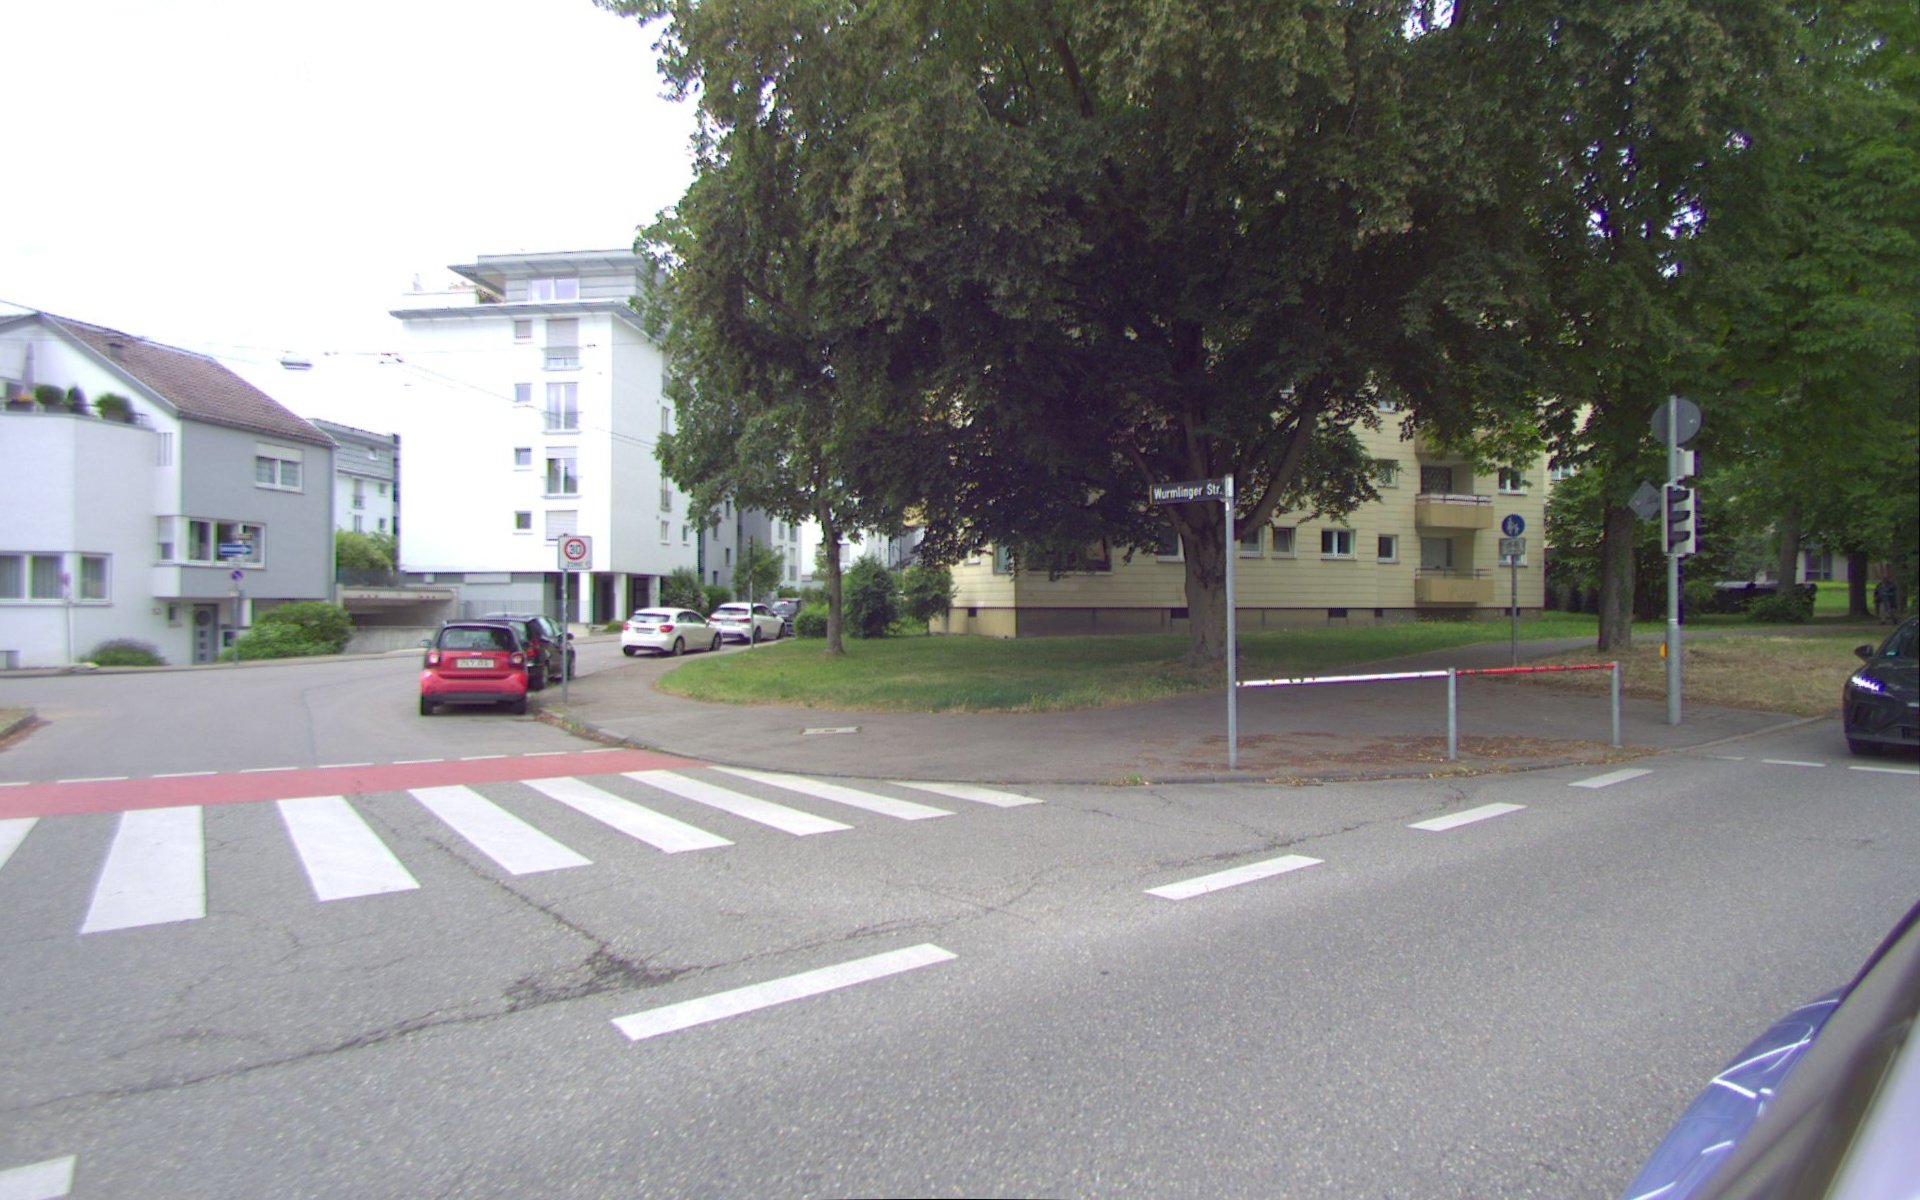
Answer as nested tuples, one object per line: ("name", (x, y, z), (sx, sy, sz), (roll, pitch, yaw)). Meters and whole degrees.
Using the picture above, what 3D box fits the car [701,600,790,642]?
("car", (-7.897, 0.745, 37.576), (1.767, 1.371, 4.058), (0, 1, 12))

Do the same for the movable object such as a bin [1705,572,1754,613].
("movable object such as a bin", (32.837, -0.343, 43.189), (1.001, 1.662, 1.436), (-2, 3, -36))

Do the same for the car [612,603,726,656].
("car", (-8.978, 0.869, 31.567), (1.767, 1.452, 4.058), (0, 1, 12))

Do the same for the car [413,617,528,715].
("car", (-8.538, 1.070, 17.635), (1.661, 1.526, 2.924), (0, -1, -27))

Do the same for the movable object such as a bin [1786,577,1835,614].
("movable object such as a bin", (36.087, -0.221, 42.957), (1.179, 1.492, 1.329), (-2, 3, -36))

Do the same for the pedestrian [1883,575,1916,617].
("pedestrian", (31.684, -0.129, 34.134), (0.594, 1.398, 0.690), (-2, 1, -32))

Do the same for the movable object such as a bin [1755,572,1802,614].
("movable object such as a bin", (33.853, -0.307, 41.872), (1.001, 1.662, 1.278), (-2, 2, -36))

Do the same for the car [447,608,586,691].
("car", (-9.676, 1.022, 22.394), (1.782, 1.611, 3.830), (-1, -1, -7))

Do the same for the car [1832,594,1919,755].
("car", (11.220, 0.737, 10.946), (4.218, 1.570, 1.804), (0, -1, -36))

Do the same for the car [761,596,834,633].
("car", (-6.806, 0.589, 42.829), (1.767, 1.430, 4.058), (0, 1, 12))
